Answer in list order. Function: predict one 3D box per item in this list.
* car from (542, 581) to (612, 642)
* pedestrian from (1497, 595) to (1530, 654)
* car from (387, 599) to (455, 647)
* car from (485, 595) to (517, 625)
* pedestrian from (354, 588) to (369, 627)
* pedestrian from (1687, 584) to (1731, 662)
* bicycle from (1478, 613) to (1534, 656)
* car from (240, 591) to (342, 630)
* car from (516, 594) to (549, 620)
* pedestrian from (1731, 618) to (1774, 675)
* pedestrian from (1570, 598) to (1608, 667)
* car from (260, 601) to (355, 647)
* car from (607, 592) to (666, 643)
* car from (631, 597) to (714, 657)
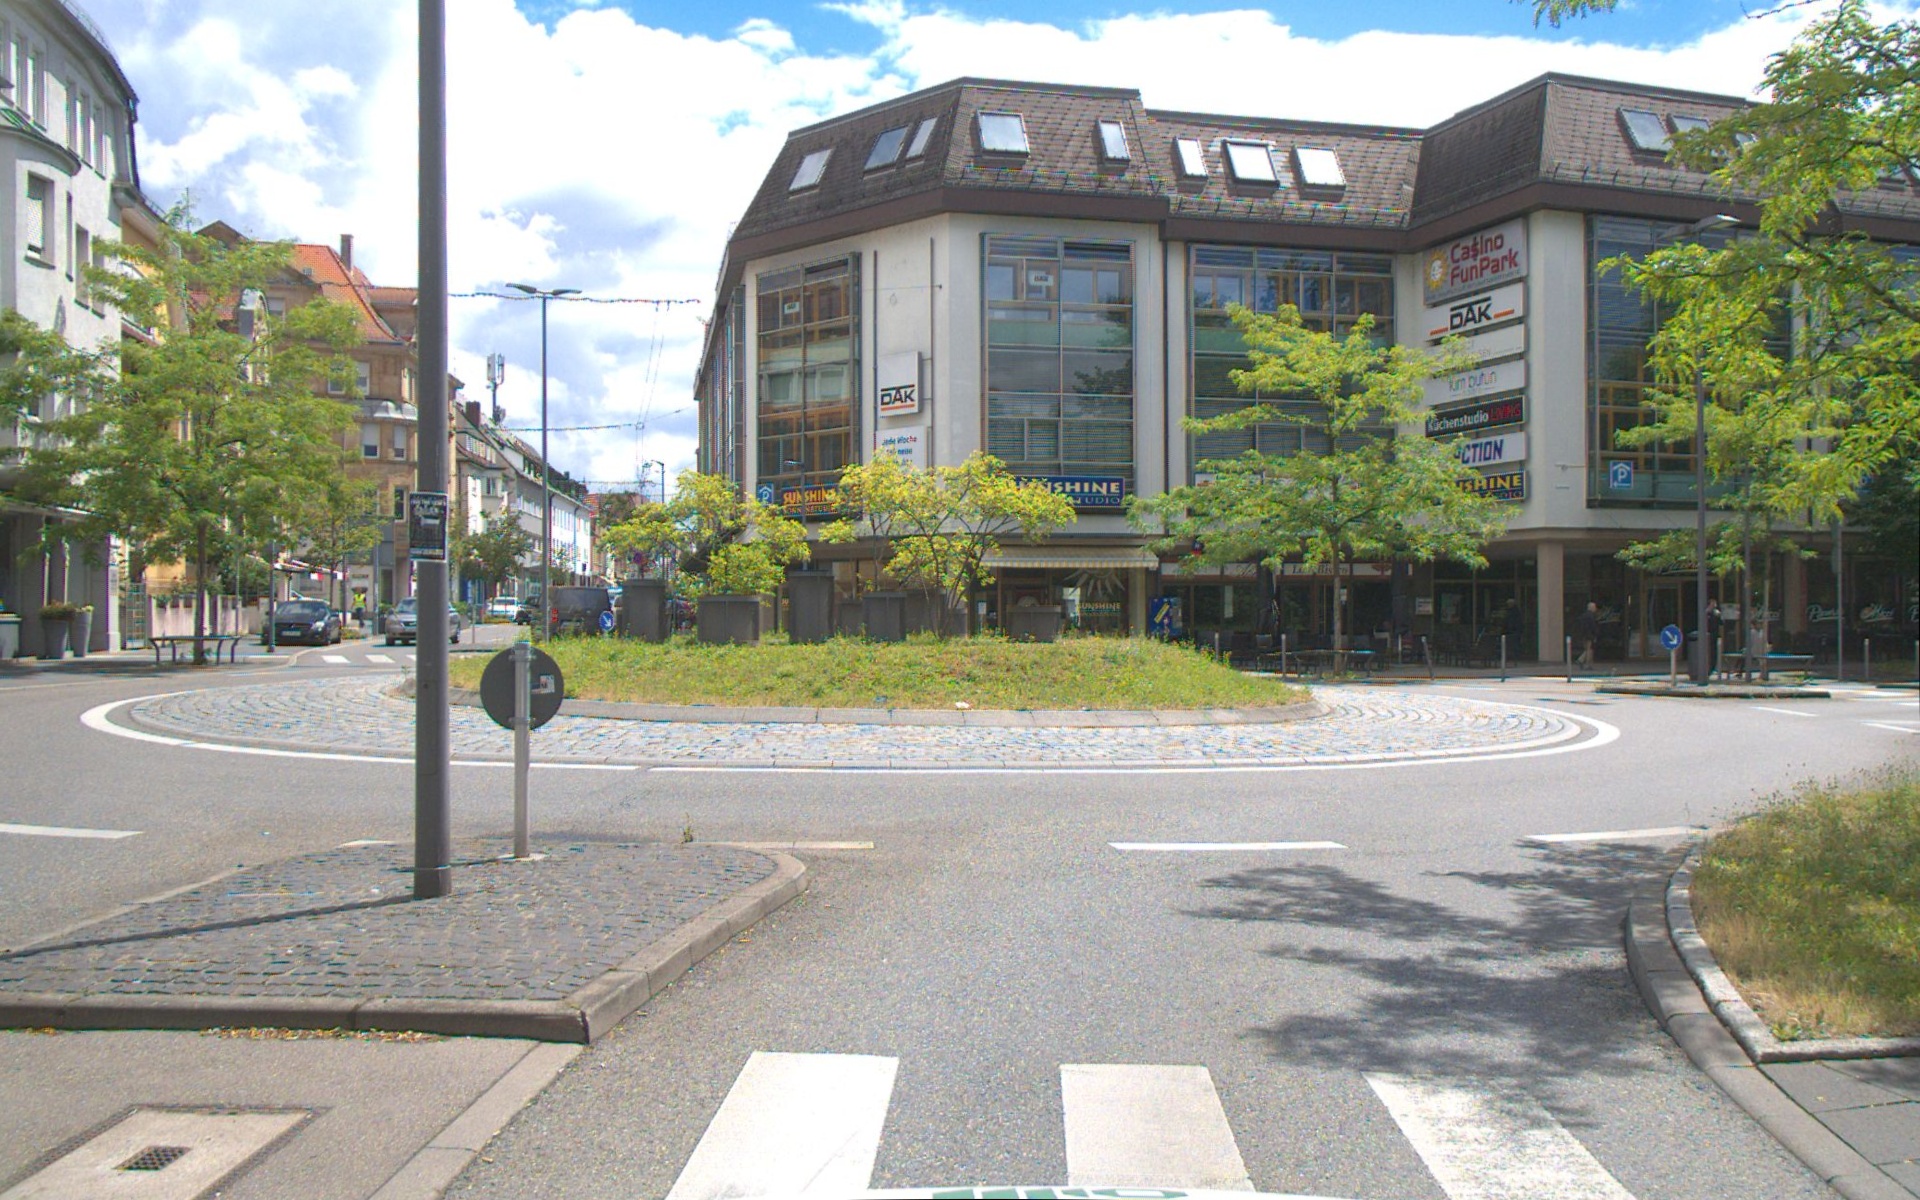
[{"bbox_3d":[-11.768,0.356,50.675,1.794,1.737,4.420,2,-1,-16],"label":"car"},{"bbox_3d":[16.149,0.721,48.273,0.686,1.704,0.613,1,0,-22],"label":"pedestrian"},{"bbox_3d":[-16.529,0.680,50.832,1.681,1.378,3.985,1,0,-14],"label":"car"},{"bbox_3d":[-27.278,0.588,98.355,1.681,1.742,3.985,1,0,-14],"label":"car"},{"bbox_3d":[-26.343,0.318,72.798,0.542,1.715,0.514,1,0,-14],"label":"pedestrian"},{"bbox_3d":[18.159,0.548,40.099,0.605,1.850,0.695,-3,1,-16],"label":"pedestrian"},{"bbox_3d":[15.889,0.996,48.122,1.507,1.188,0.496,1,-1,23],"label":"bicycle"},{"bbox_3d":[-31.668,0.499,78.308,4.365,1.807,1.983,1,0,-27],"label":"car"},{"bbox_3d":[-23.512,0.377,91.019,1.681,1.378,3.985,1,0,-14],"label":"car"},{"bbox_3d":[18.546,1.081,38.700,0.604,1.307,0.696,1,0,-9],"label":"pedestrian"},{"bbox_3d":[15.751,0.815,41.417,0.689,1.704,0.610,1,0,-34],"label":"pedestrian"},{"bbox_3d":[-19.203,0.675,48.874,1.678,1.267,4.402,1,0,-9],"label":"car"},{"bbox_3d":[-11.696,0.622,60.061,1.790,1.761,4.226,-1,0,-7],"label":"car"},{"bbox_3d":[-8.932,0.796,51.060,1.961,1.718,4.671,2,-1,-16],"label":"car"}]
